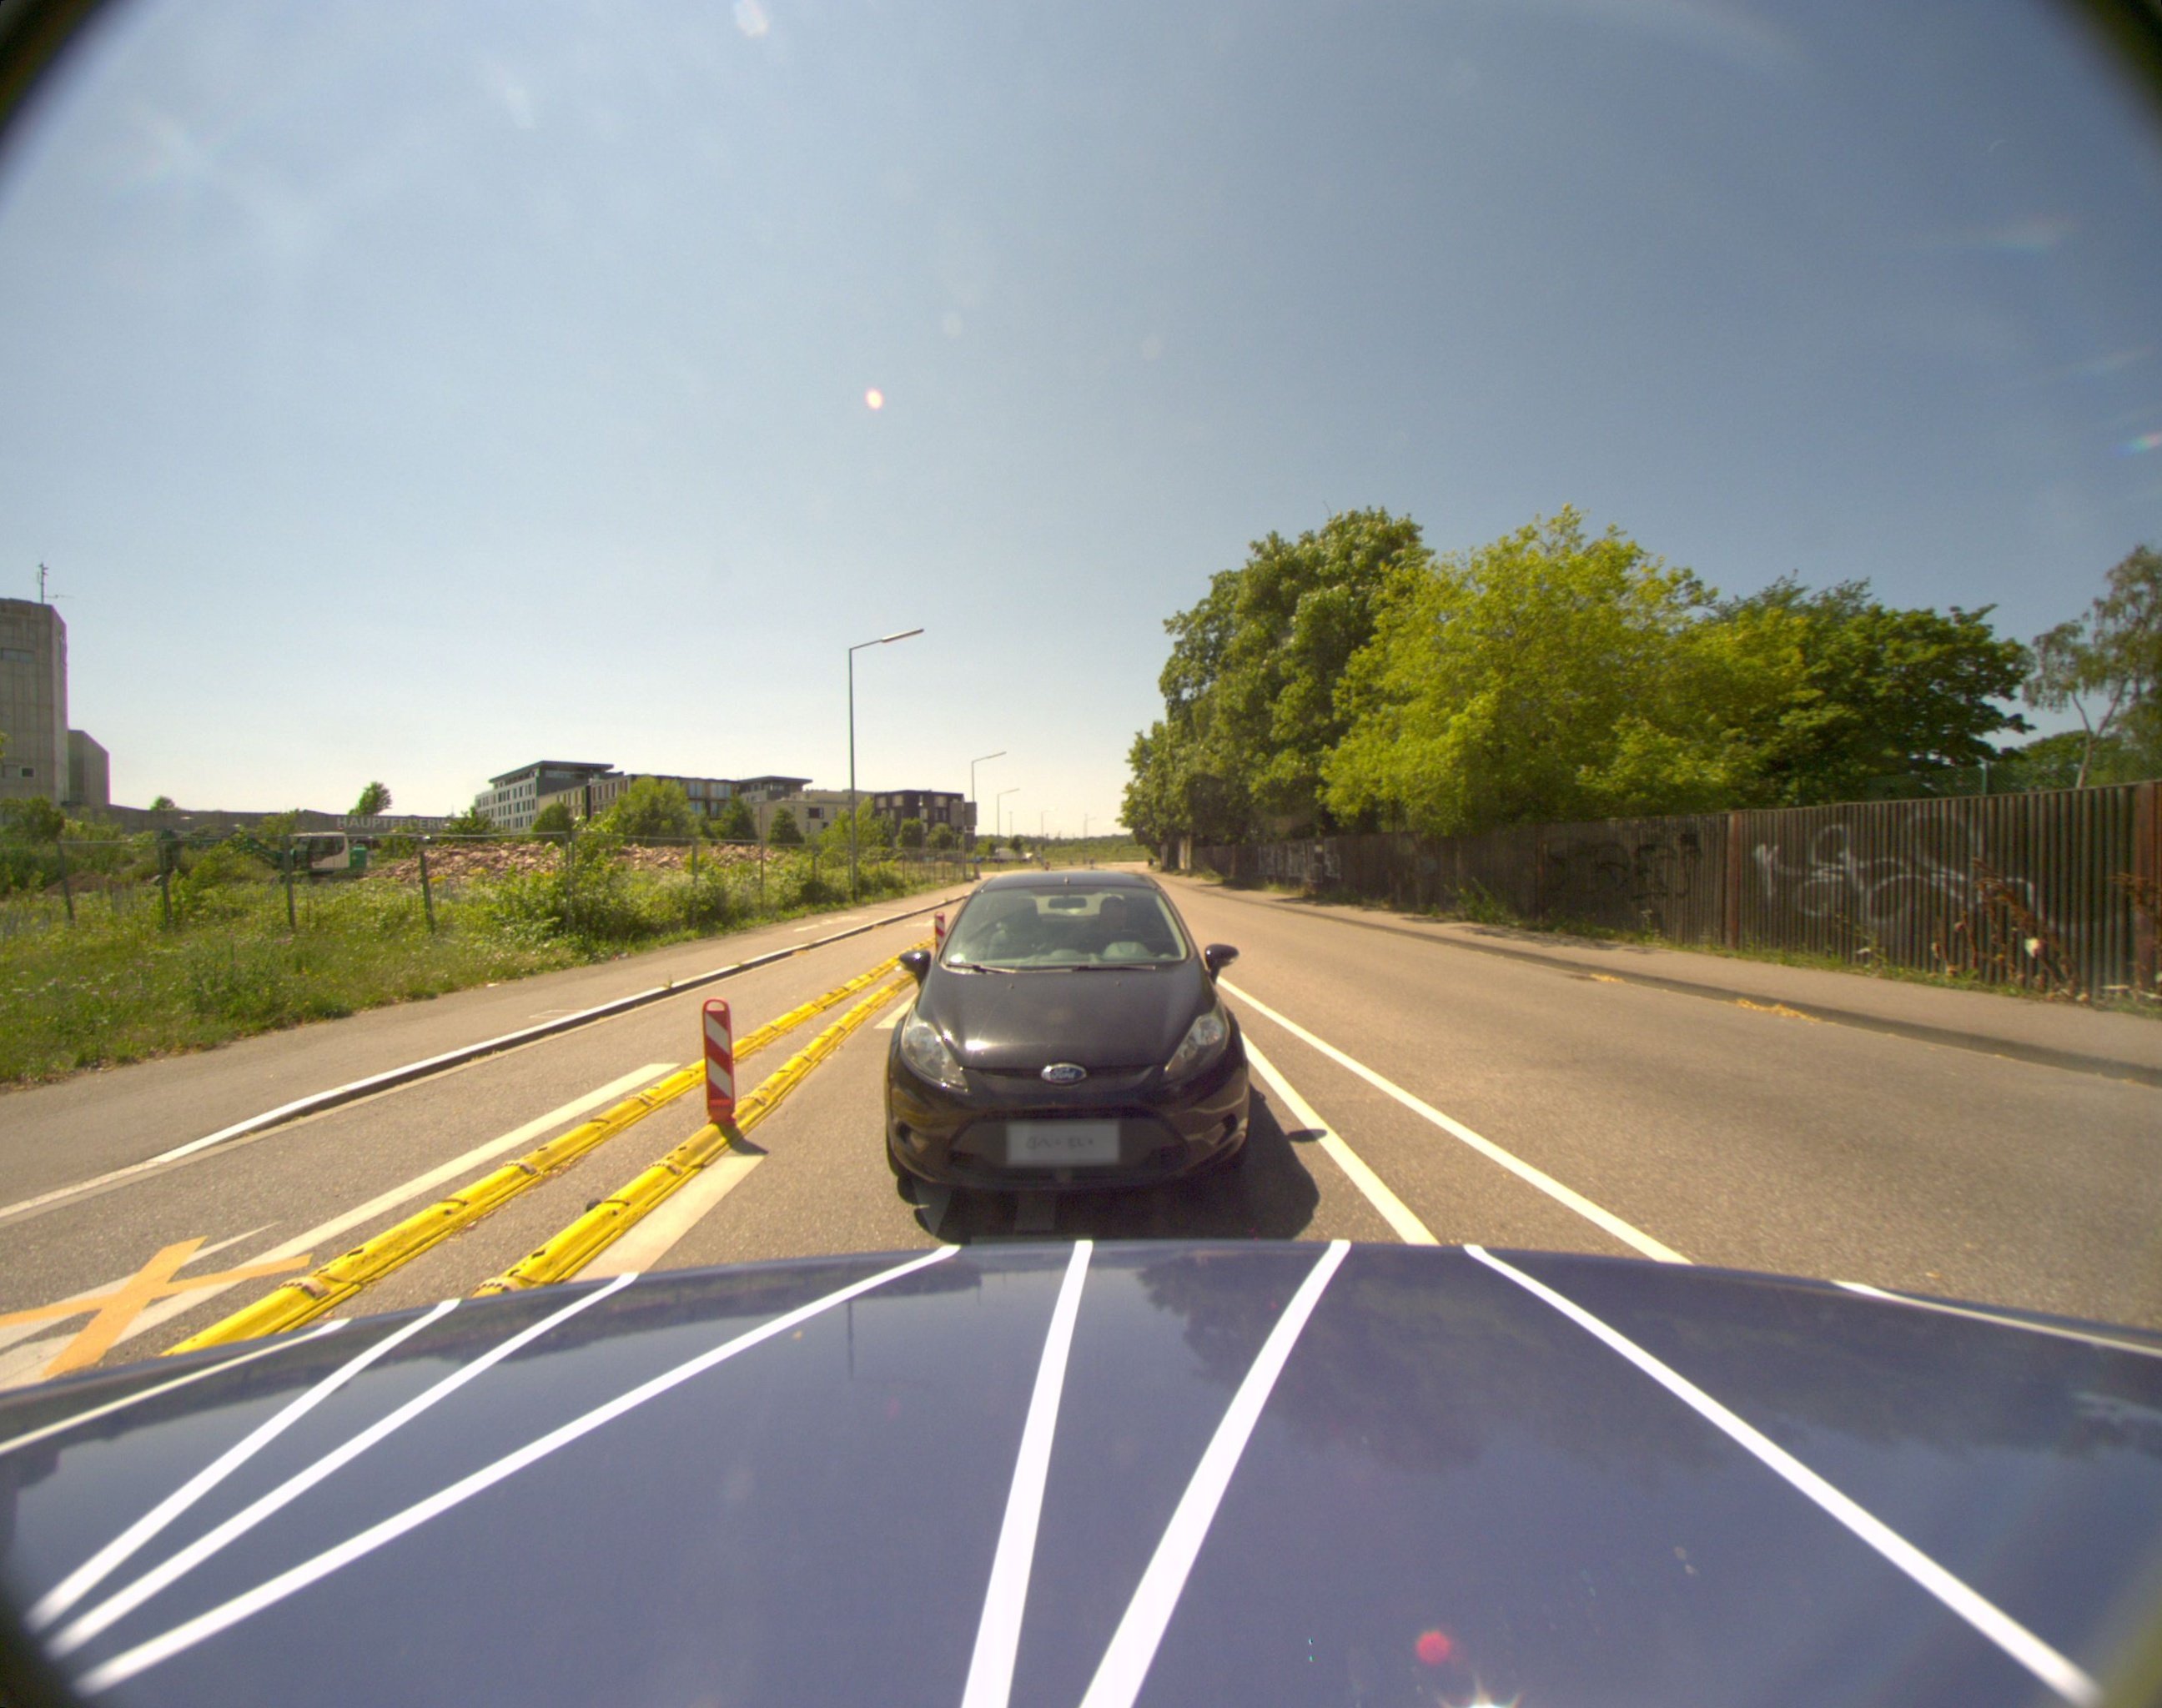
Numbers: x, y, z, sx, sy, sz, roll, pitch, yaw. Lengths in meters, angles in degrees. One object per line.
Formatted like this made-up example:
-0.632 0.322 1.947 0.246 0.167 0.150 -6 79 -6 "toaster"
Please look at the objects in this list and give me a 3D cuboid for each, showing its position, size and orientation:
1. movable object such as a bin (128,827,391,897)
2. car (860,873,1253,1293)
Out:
-38.333 0.273 35.991 3.231 2.899 7.702 -2 1 15 "movable object such as a bin"
-0.071 0.979 5.070 1.528 1.510 3.999 -2 1 1 "car"
